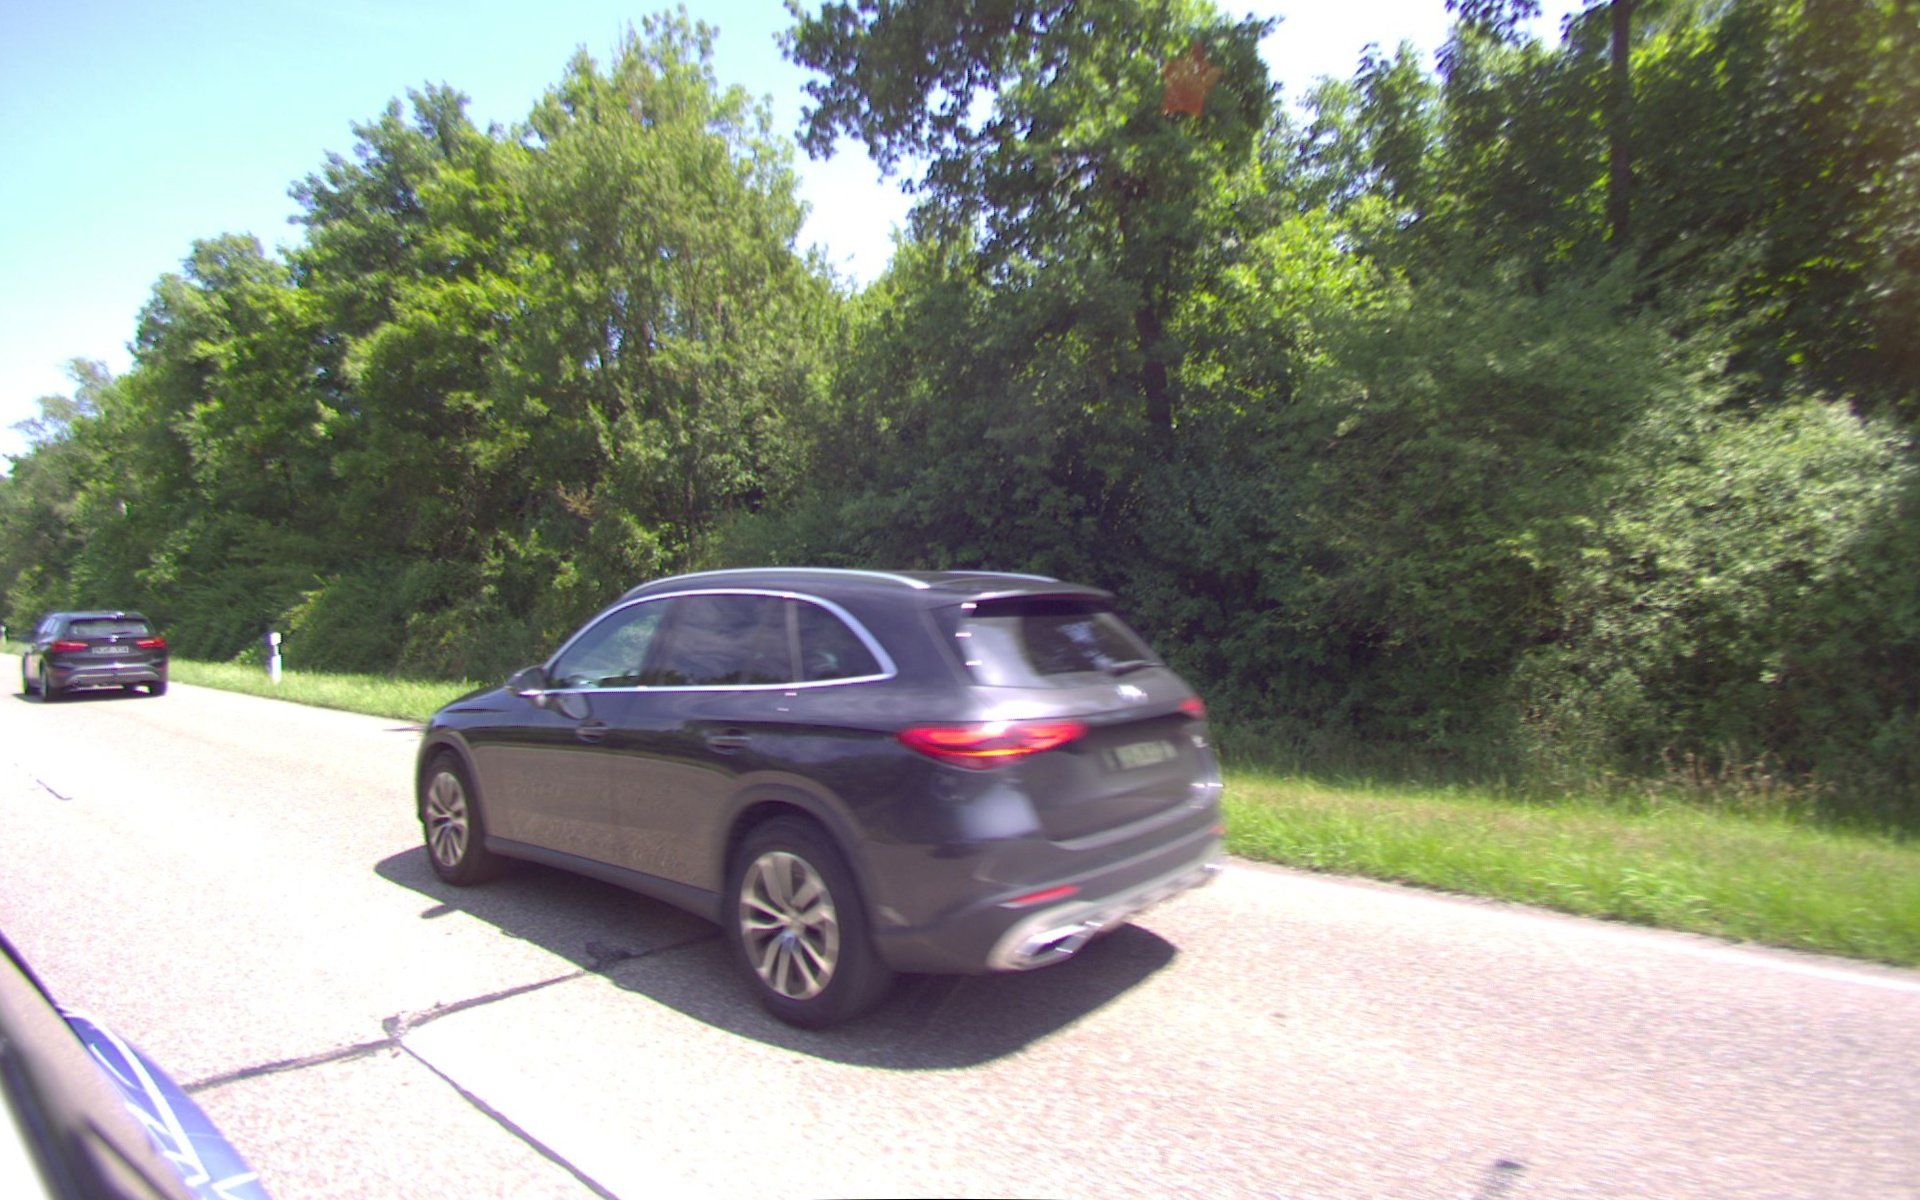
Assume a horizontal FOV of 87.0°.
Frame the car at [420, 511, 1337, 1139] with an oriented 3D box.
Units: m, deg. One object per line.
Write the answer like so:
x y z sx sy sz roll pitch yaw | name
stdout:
-0.685 0.628 4.724 4.197 1.637 1.846 -2 -1 41 | car

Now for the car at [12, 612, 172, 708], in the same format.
-16.692 1.061 19.377 4.439 1.617 1.734 -1 -1 41 | car
